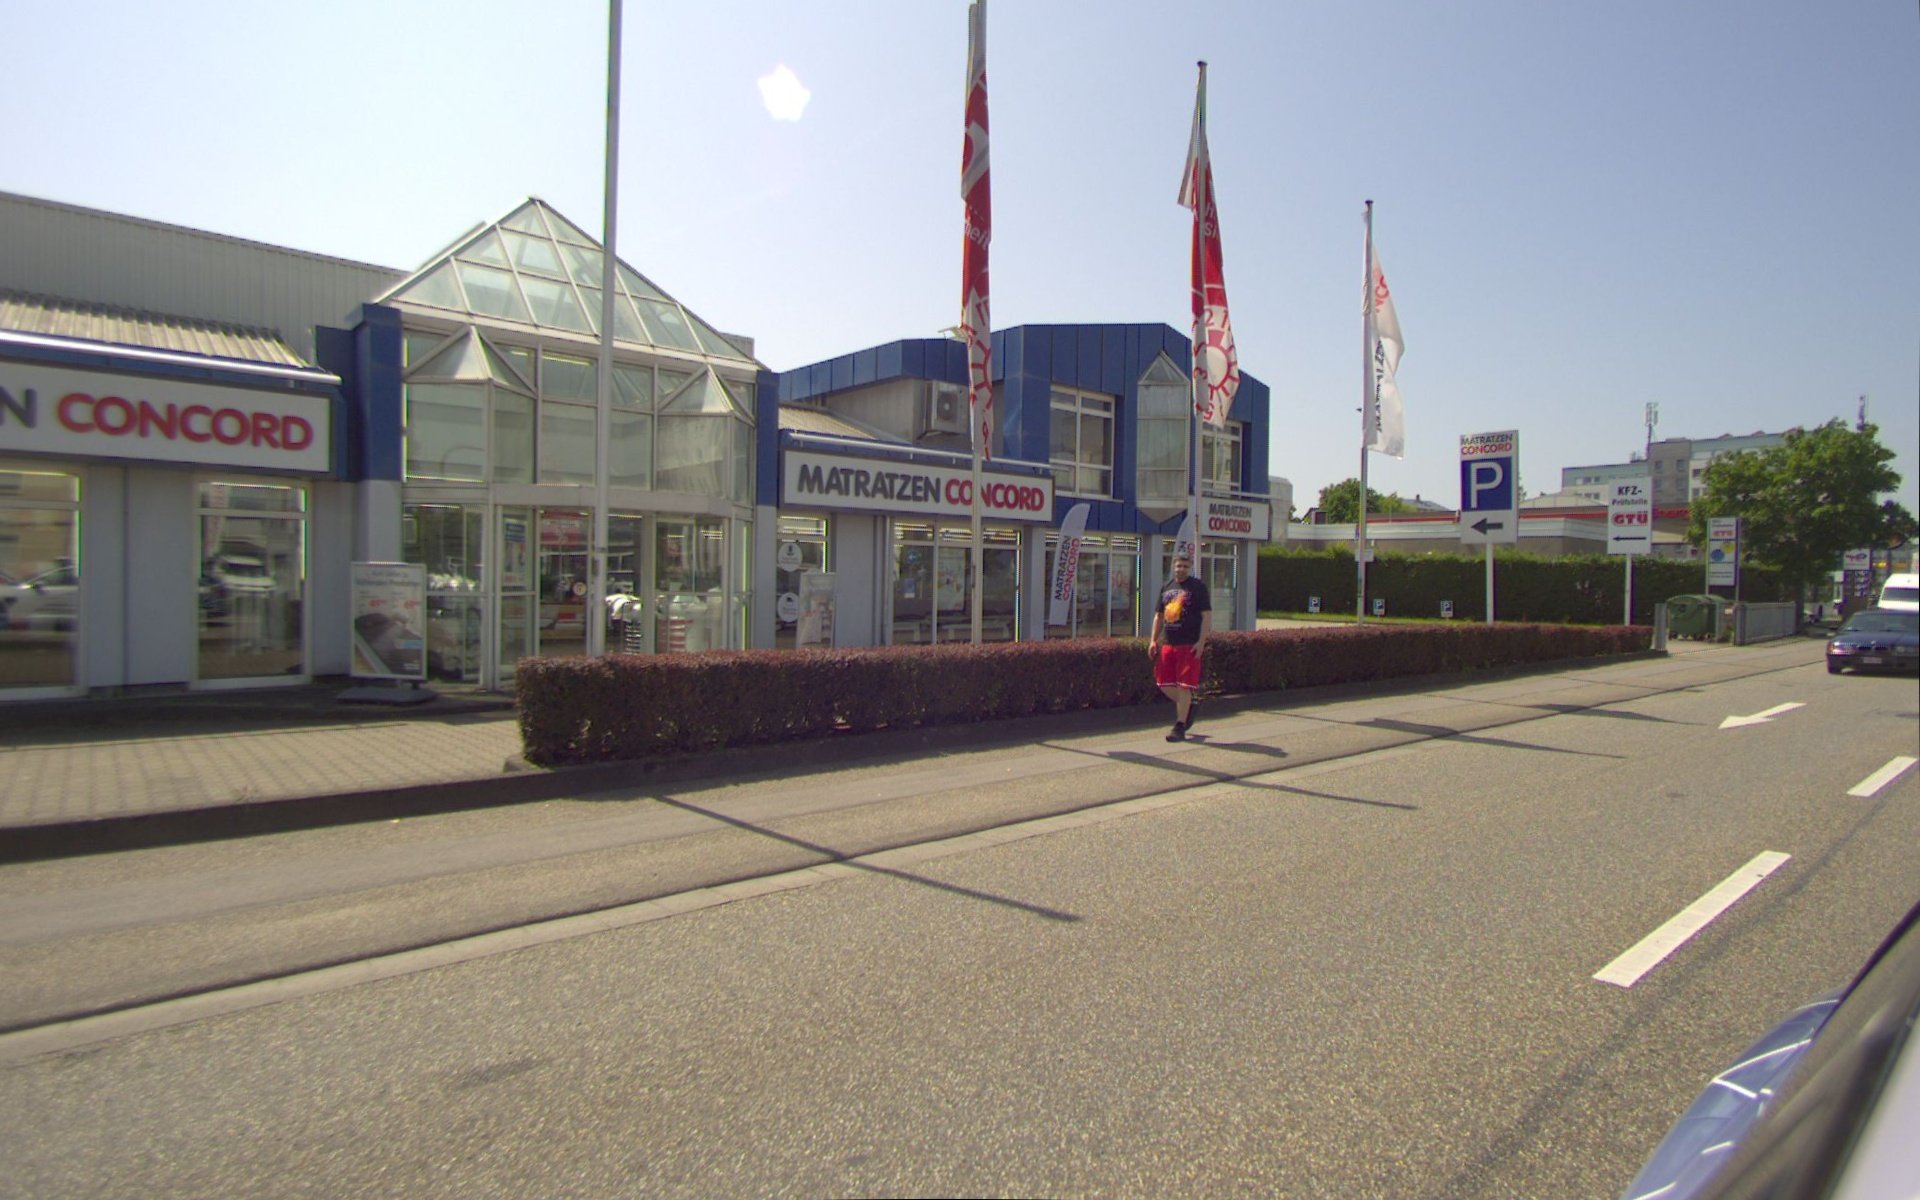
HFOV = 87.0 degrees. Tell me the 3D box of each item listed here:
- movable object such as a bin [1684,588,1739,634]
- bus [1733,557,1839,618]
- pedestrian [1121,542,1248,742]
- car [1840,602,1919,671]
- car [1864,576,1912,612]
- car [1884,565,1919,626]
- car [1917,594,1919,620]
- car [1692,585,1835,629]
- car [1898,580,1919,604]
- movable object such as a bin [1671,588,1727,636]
[{"bbox_3d":[25.201,0.358,33.941,1.463,1.488,1.133,0,2,-40],"label":"movable object such as a bin"},{"bbox_3d":[46.604,-0.698,56.980,8.914,3.191,2.756,0,2,-39],"label":"bus"},{"bbox_3d":[2.228,0.383,10.054,0.919,1.869,0.787,0,1,-38],"label":"pedestrian"},{"bbox_3d":[20.242,0.729,21.677,3.691,1.356,1.630,0,0,-41],"label":"car"},{"bbox_3d":[67.043,-0.418,73.090,5.481,2.465,2.056,0,2,-43],"label":"car"},{"bbox_3d":[47.388,-0.207,49.642,7.152,2.807,2.182,0,4,-42],"label":"car"},{"bbox_3d":[55.133,0.441,56.812,3.775,1.466,1.680,0,4,-42],"label":"car"},{"bbox_3d":[35.669,0.269,45.031,1.872,1.545,4.636,0,4,-38],"label":"car"},{"bbox_3d":[109.506,-0.825,113.351,1.690,2.636,6.903,1,2,-9],"label":"car"},{"bbox_3d":[24.040,0.362,32.914,1.463,1.488,1.133,0,2,-40],"label":"movable object such as a bin"}]
